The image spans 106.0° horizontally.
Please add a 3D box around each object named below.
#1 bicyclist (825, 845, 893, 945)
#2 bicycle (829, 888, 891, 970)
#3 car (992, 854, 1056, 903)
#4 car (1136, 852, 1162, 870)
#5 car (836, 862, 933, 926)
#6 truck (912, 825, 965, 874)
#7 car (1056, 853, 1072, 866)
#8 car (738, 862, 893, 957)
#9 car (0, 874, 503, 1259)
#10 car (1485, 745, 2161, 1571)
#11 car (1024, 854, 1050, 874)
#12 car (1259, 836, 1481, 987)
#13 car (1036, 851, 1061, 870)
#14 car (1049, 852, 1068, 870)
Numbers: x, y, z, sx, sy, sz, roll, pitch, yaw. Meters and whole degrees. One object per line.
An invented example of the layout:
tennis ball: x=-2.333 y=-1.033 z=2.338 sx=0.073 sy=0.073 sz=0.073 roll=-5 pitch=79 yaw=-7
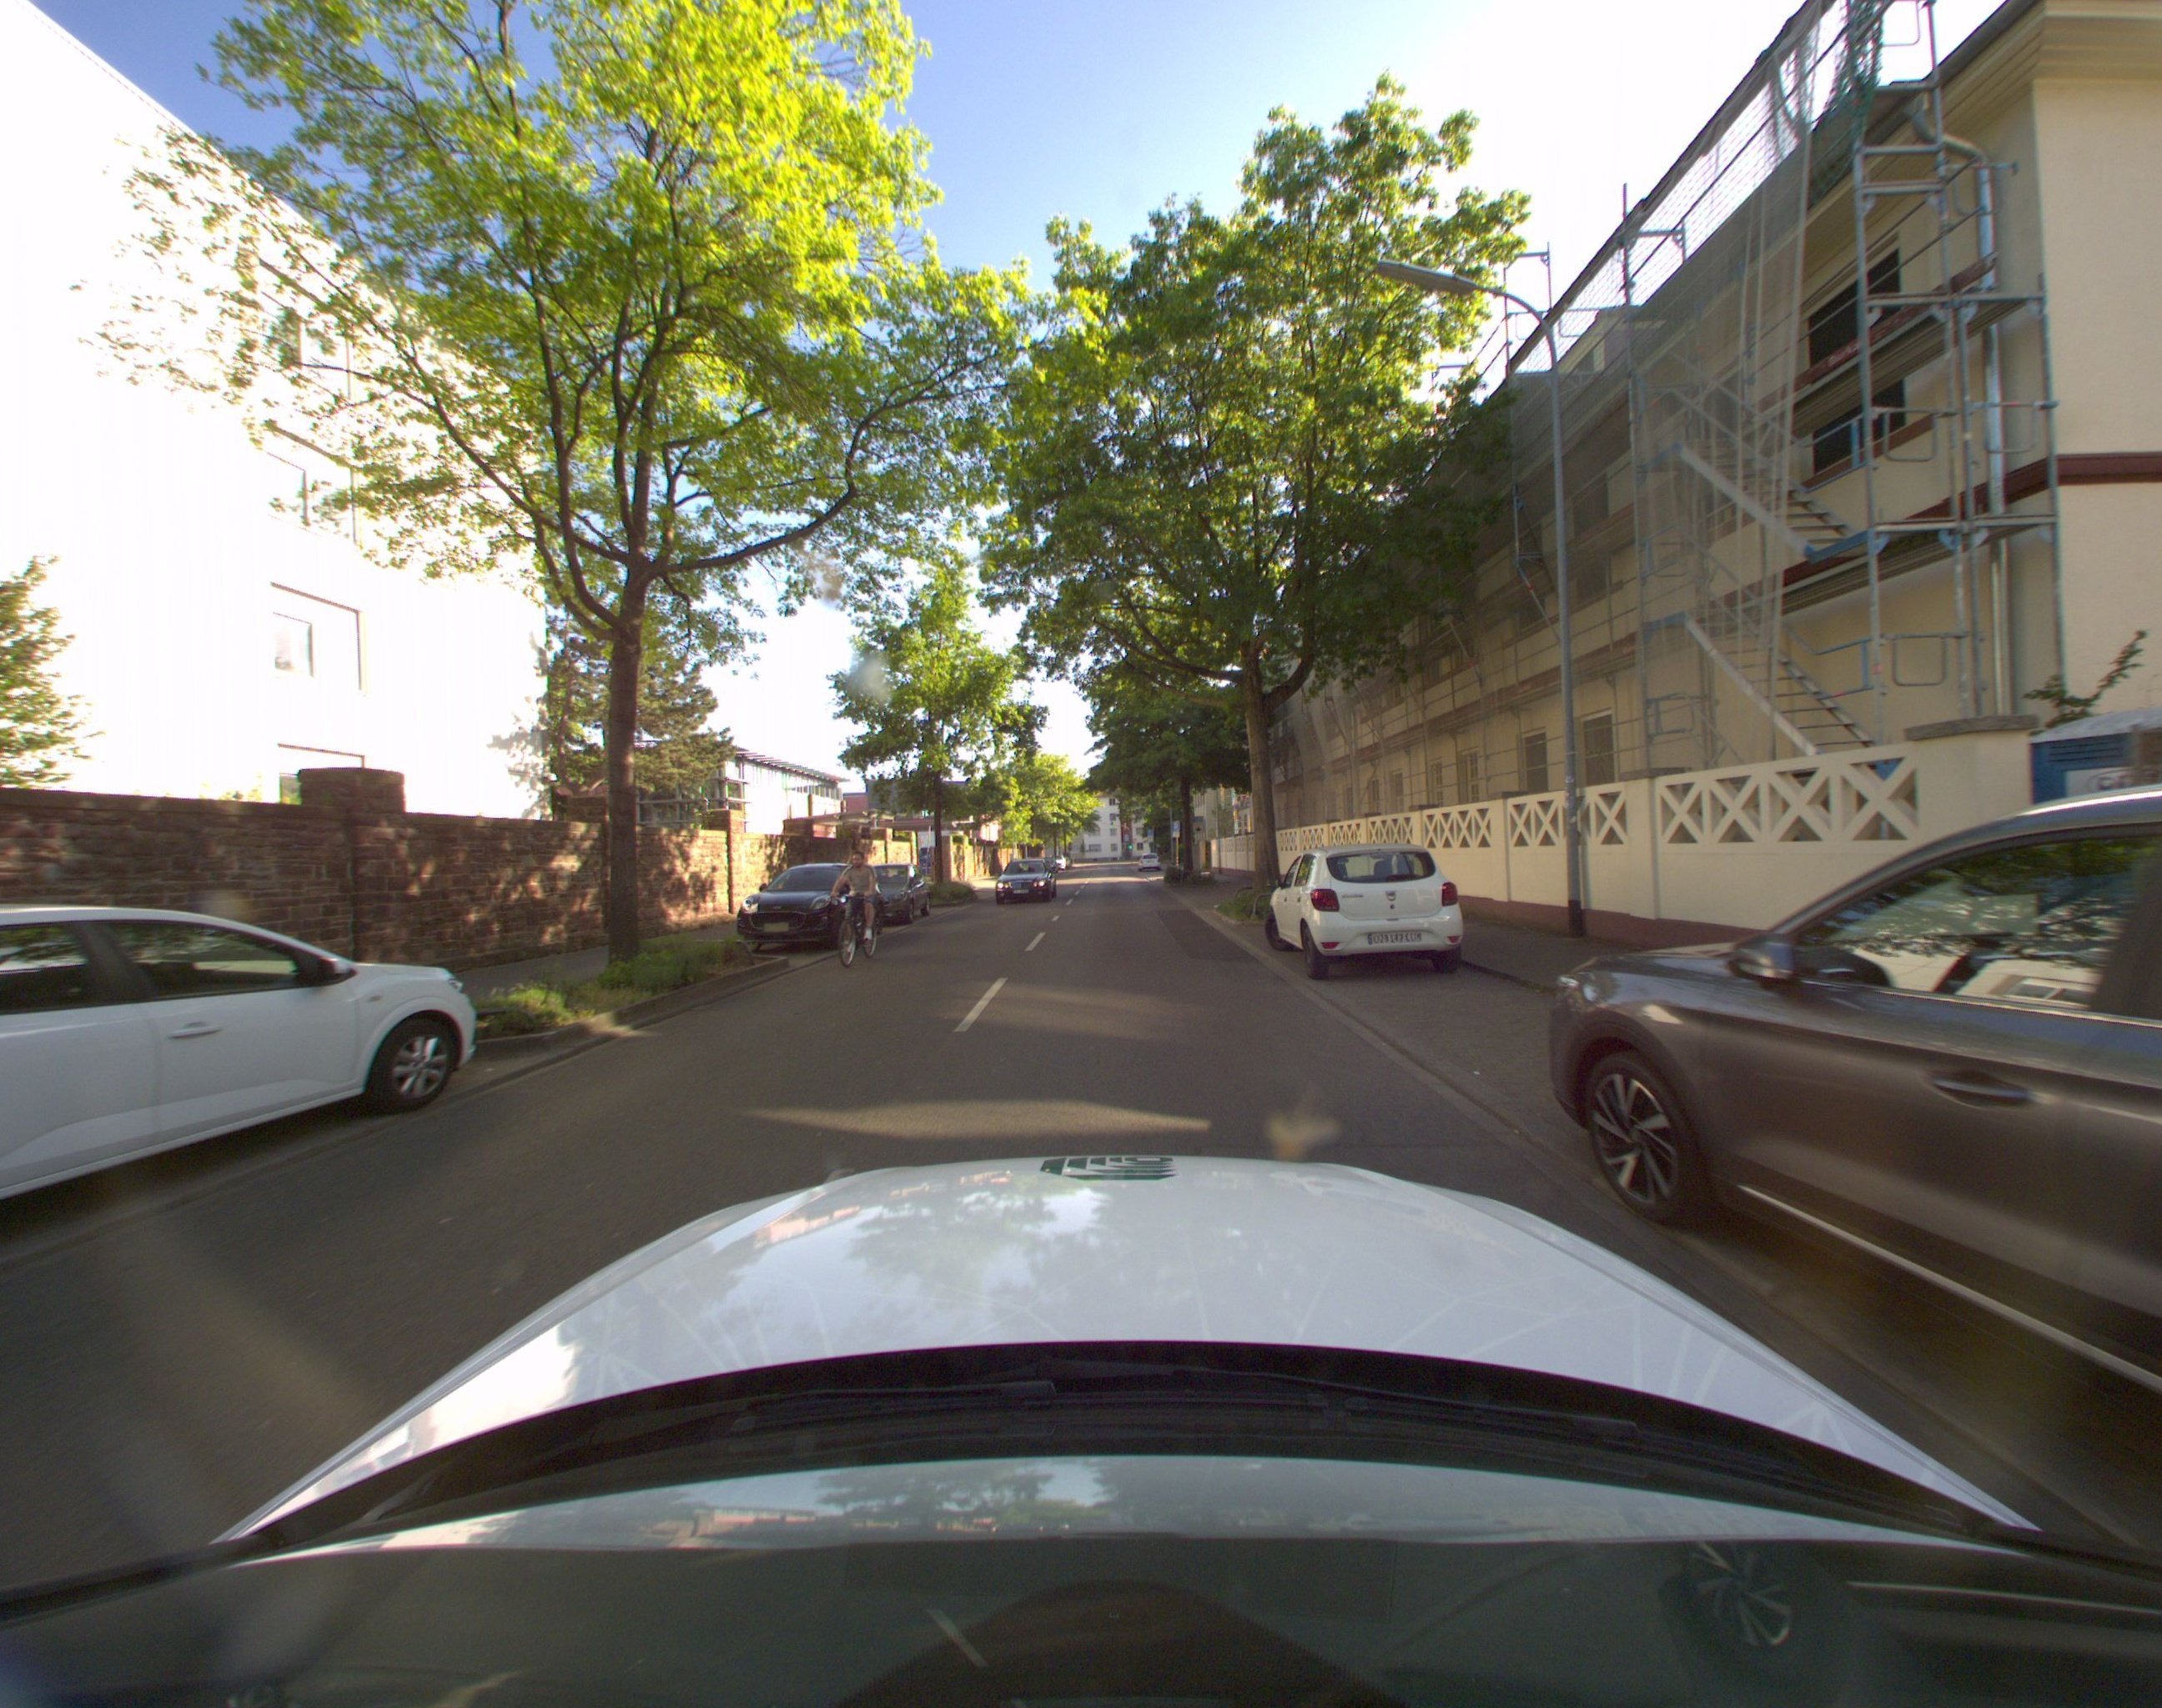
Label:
bicyclist: x=-3.494 y=0.621 z=12.874 sx=0.717 sy=1.522 sz=1.006 roll=-1 pitch=0 yaw=5
bicycle: x=-3.472 y=1.136 z=12.921 sx=0.356 sy=1.120 sz=1.867 roll=-1 pitch=0 yaw=3
car: x=-1.879 y=0.779 z=27.969 sx=1.815 sy=1.436 sz=3.969 roll=-4 pitch=1 yaw=0
car: x=5.577 y=0.532 z=67.085 sx=1.826 sy=1.323 sz=4.497 roll=-3 pitch=0 yaw=1
car: x=-4.945 y=0.953 z=20.999 sx=1.683 sy=1.422 sz=3.835 roll=-1 pitch=0 yaw=-2
truck: x=-11.294 y=-0.352 z=65.265 sx=2.722 sy=3.711 sz=7.431 roll=-1 pitch=0 yaw=2
car: x=-1.977 y=0.675 z=96.041 sx=1.720 sy=1.475 sz=4.480 roll=-1 pitch=0 yaw=2
car: x=-4.971 y=0.966 z=15.848 sx=1.568 sy=1.515 sz=4.045 roll=-2 pitch=0 yaw=1
car: x=-5.326 y=0.934 z=4.264 sx=1.669 sy=1.511 sz=3.853 roll=1 pitch=0 yaw=3
car: x=2.972 y=0.570 z=2.090 sx=1.706 sy=1.638 sz=4.302 roll=-2 pitch=0 yaw=0
car: x=-3.272 y=0.727 z=60.900 sx=1.602 sy=1.459 sz=3.710 roll=-1 pitch=0 yaw=2
car: x=3.508 y=0.590 z=10.678 sx=1.715 sy=1.510 sz=3.997 roll=-4 pitch=0 yaw=5
car: x=-2.899 y=0.576 z=73.421 sx=1.730 sy=1.592 sz=4.110 roll=-2 pitch=0 yaw=3
car: x=-2.328 y=0.725 z=83.974 sx=1.714 sy=1.683 sz=4.351 roll=-2 pitch=0 yaw=1
